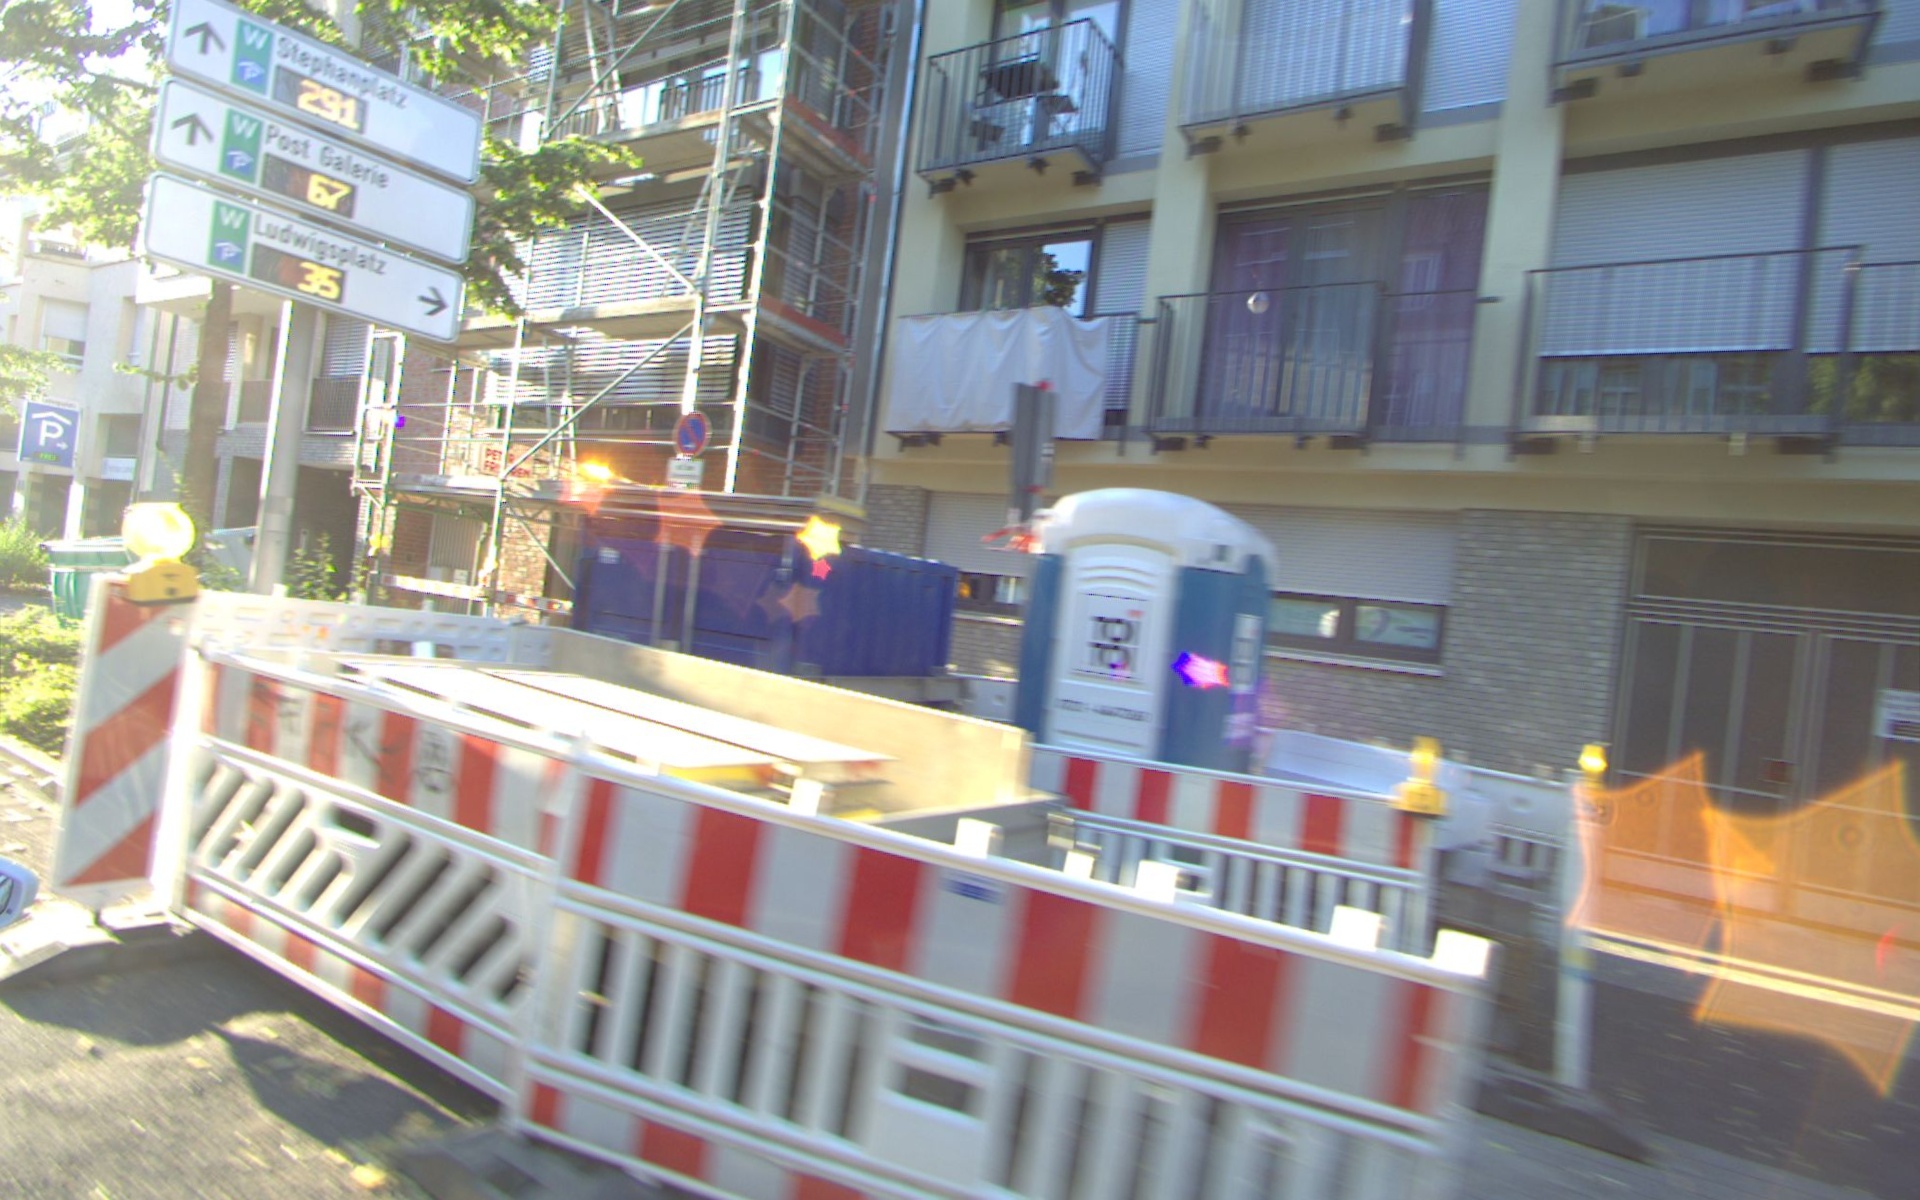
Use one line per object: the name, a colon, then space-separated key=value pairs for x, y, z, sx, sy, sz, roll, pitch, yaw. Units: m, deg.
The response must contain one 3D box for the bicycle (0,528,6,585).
bicycle: x=-17.936 y=-0.812 z=18.265 sx=1.497 sy=1.113 sz=0.382 roll=6 pitch=0 yaw=29
